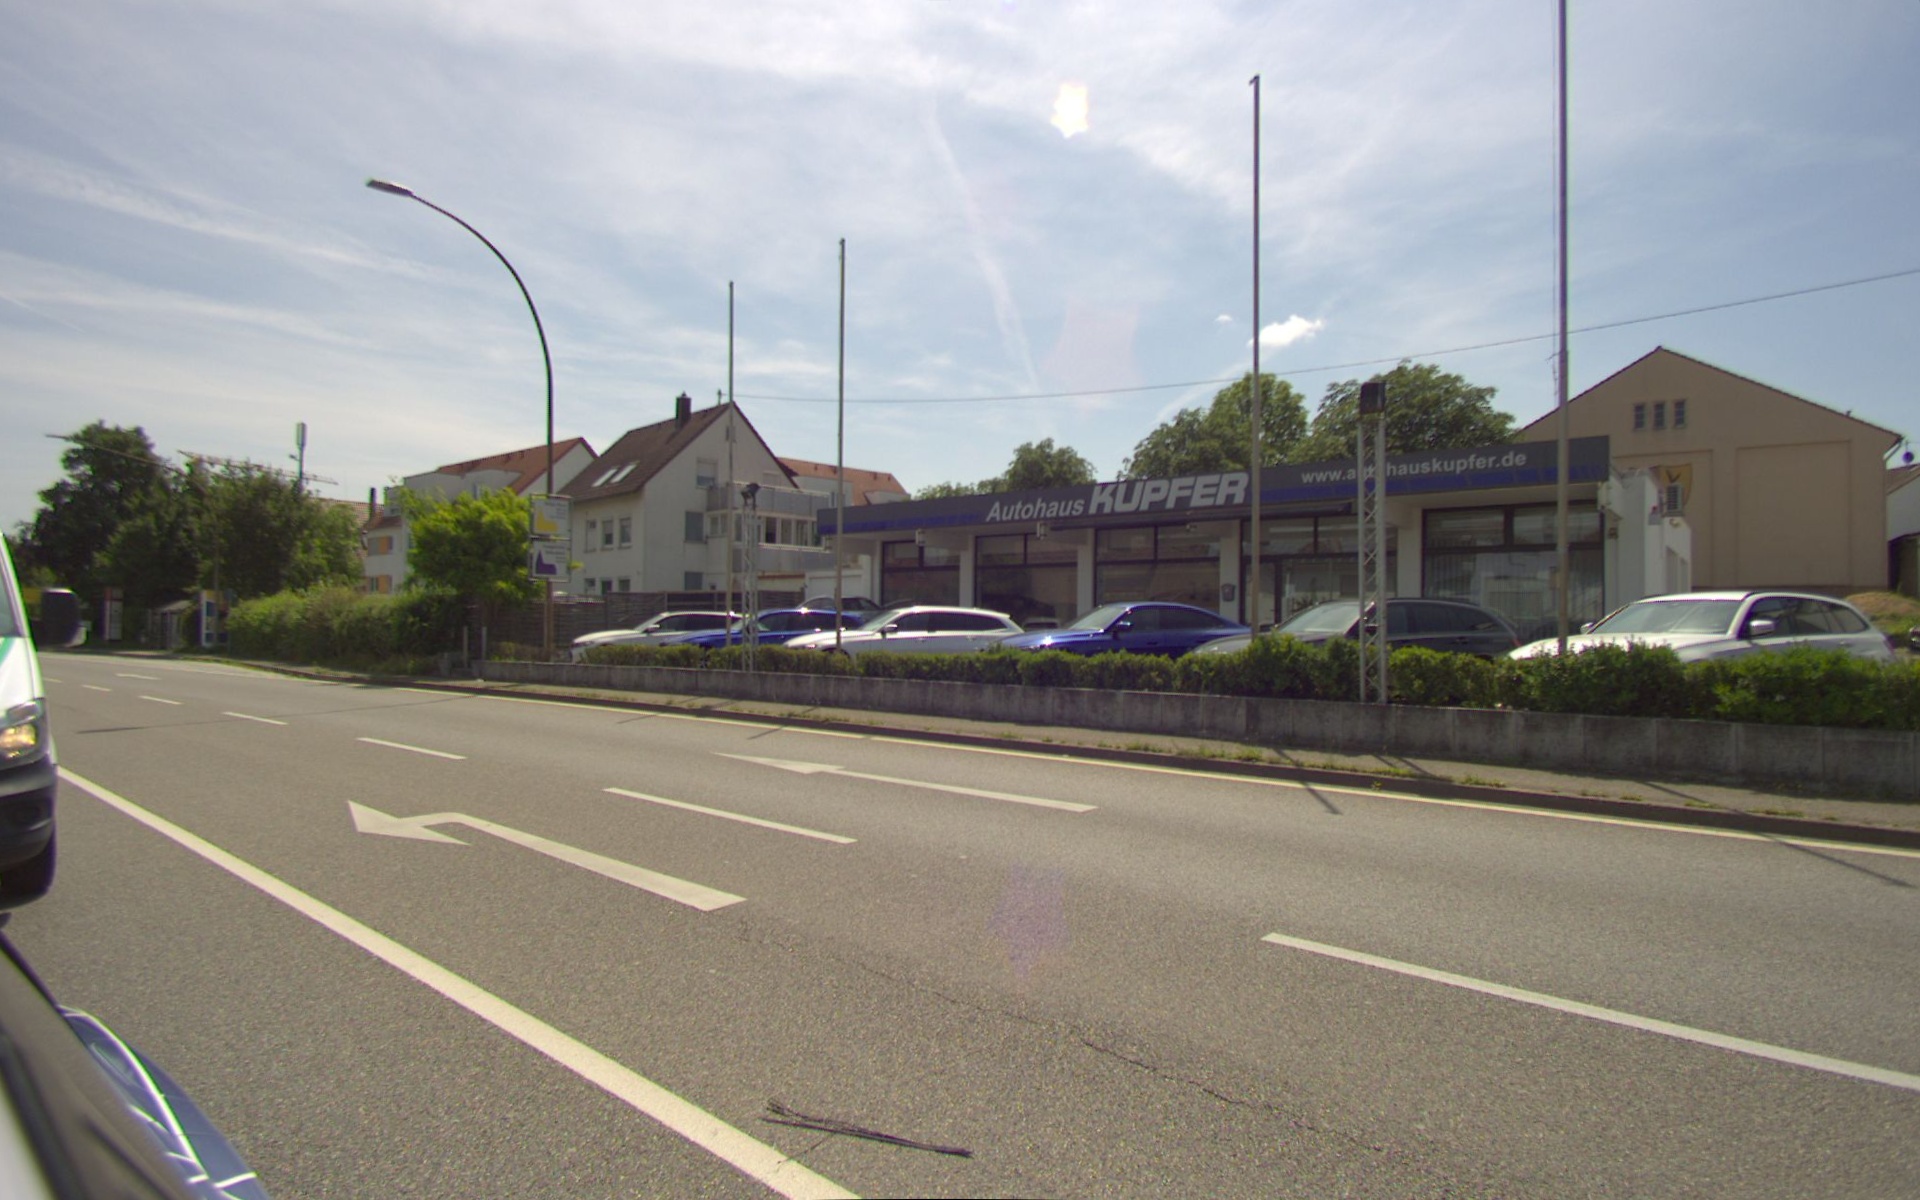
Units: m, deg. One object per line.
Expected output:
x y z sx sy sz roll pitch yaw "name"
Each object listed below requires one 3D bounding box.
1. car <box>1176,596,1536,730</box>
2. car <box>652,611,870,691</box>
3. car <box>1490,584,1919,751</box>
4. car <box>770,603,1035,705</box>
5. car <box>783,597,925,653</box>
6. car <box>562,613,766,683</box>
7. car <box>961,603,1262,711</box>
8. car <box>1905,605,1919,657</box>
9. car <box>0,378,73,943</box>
5.135 0.707 13.122 4.267 1.458 1.905 -1 0 -24 "car"
-4.231 1.017 21.448 4.267 1.458 1.863 -1 0 -21 "car"
7.899 0.582 10.668 4.267 1.458 1.863 -1 0 -24 "car"
-1.070 0.905 18.513 4.438 1.458 1.863 -3 1 -19 "car"
-3.135 0.706 29.051 1.781 1.475 4.589 -1 -1 -40 "car"
-7.063 1.085 24.149 4.501 1.458 1.863 -1 0 -21 "car"
2.354 0.802 15.825 4.267 1.458 1.863 -1 0 -20 "car"
24.873 0.676 23.555 3.946 1.231 1.791 -2 0 2 "car"
-6.968 0.321 5.883 5.745 2.548 1.915 -2 -1 40 "car"
